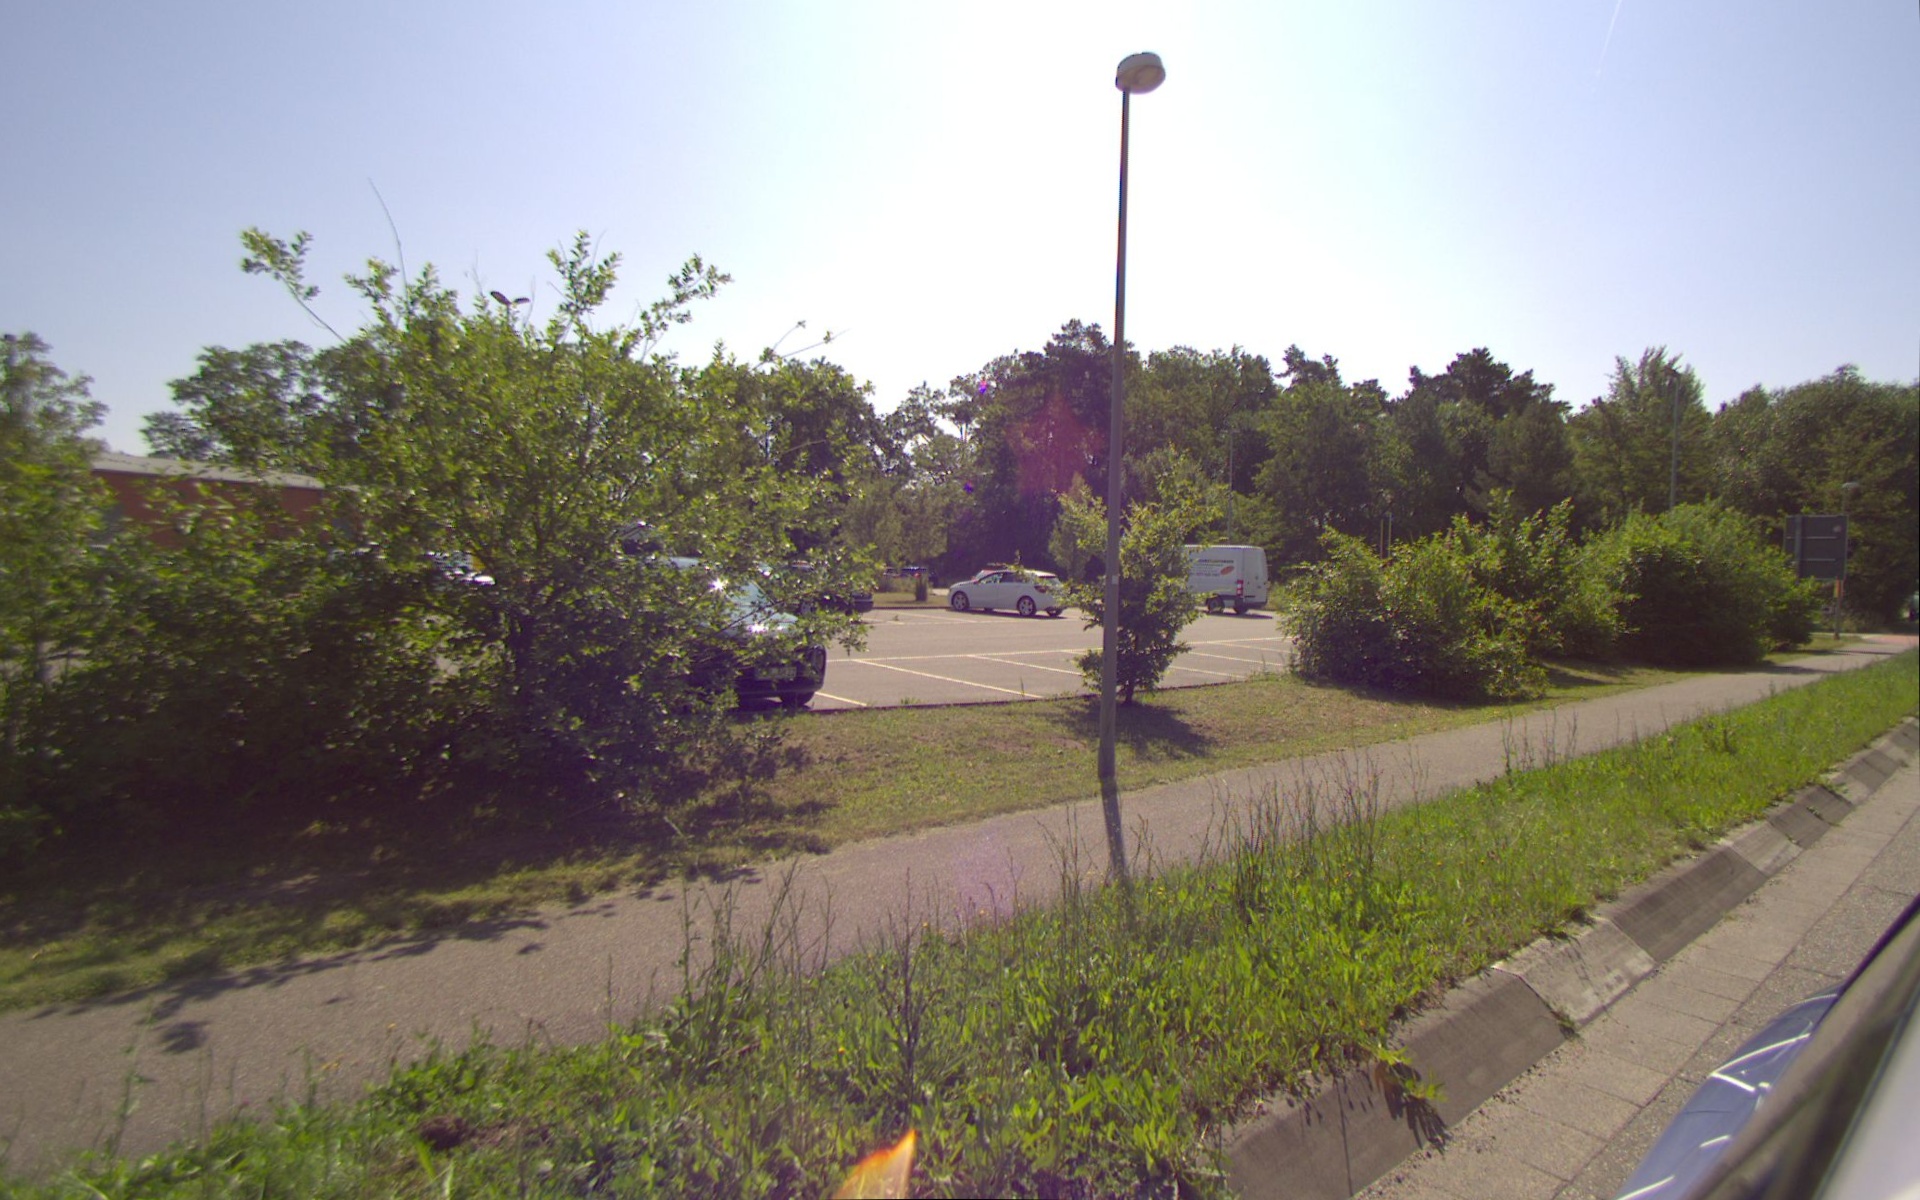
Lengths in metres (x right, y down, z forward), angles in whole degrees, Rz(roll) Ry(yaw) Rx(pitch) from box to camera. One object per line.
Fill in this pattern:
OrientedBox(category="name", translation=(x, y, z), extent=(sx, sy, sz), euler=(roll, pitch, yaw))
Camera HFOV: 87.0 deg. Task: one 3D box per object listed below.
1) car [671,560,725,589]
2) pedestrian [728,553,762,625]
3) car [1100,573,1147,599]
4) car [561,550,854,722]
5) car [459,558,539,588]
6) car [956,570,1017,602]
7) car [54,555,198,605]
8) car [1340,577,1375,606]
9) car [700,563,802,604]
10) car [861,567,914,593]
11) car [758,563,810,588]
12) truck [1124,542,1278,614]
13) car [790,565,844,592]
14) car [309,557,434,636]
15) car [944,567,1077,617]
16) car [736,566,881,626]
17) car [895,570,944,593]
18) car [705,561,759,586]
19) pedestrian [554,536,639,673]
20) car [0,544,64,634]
OrientedBox(category="car", translation=(-19.399, -1.891, 75.120), extent=(1.921, 1.998, 3.971), euler=(2, 2, 22))
OrientedBox(category="pedestrian", translation=(-5.253, -0.265, 24.673), extent=(0.742, 1.726, 0.714), euler=(1, 1, -16))
OrientedBox(category="car", translation=(10.186, -0.881, 62.865), extent=(2.047, 1.504, 3.971), euler=(2, 2, 22))
OrientedBox(category="car", translation=(-3.180, 0.285, 12.168), extent=(1.722, 1.647, 4.127), euler=(1, 2, -41))
OrientedBox(category="car", translation=(-25.474, -1.489, 55.922), extent=(3.951, 1.537, 1.789), euler=(2, 2, 20))
OrientedBox(category="car", translation=(1.424, -0.747, 51.881), extent=(1.974, 1.483, 4.470), euler=(2, 2, 18))
OrientedBox(category="car", translation=(-27.539, -0.675, 33.420), extent=(3.950, 1.504, 1.956), euler=(2, 1, 20))
OrientedBox(category="car", translation=(22.691, -0.512, 57.904), extent=(1.738, 1.549, 4.345), euler=(2, 2, 20))
OrientedBox(category="car", translation=(-8.991, -0.737, 43.616), extent=(3.961, 1.604, 1.953), euler=(2, 1, 27))
OrientedBox(category="car", translation=(-4.917, -1.376, 69.219), extent=(2.047, 1.732, 3.971), euler=(2, 2, 22))
OrientedBox(category="car", translation=(-12.454, -1.743, 71.904), extent=(1.774, 1.615, 4.232), euler=(2, 2, 20))
OrientedBox(category="truck", translation=(9.405, -0.917, 39.897), extent=(2.166, 2.637, 5.607), euler=(0, 2, -42))
OrientedBox(category="car", translation=(-9.933, -1.501, 70.547), extent=(2.047, 1.732, 3.971), euler=(2, 2, 22))
OrientedBox(category="car", translation=(-12.161, -0.132, 20.787), extent=(1.621, 1.460, 3.997), euler=(1, 2, -39))
OrientedBox(category="car", translation=(1.603, -0.286, 32.864), extent=(3.955, 1.471, 1.878), euler=(3, 2, 39))
OrientedBox(category="car", translation=(-4.121, -0.147, 27.241), extent=(3.985, 1.445, 1.723), euler=(3, 2, 42))
OrientedBox(category="car", translation=(-2.672, -1.256, 68.038), extent=(1.643, 1.504, 4.342), euler=(2, 2, 22))
OrientedBox(category="car", translation=(-16.685, -1.908, 74.201), extent=(1.921, 1.732, 3.971), euler=(2, 2, 22))
OrientedBox(category="pedestrian", translation=(-5.063, 0.048, 14.087), extent=(0.851, 1.820, 0.820), euler=(1, 1, -40))
OrientedBox(category="car", translation=(-18.849, -0.253, 18.600), extent=(3.941, 1.608, 1.654), euler=(2, 1, 14))
